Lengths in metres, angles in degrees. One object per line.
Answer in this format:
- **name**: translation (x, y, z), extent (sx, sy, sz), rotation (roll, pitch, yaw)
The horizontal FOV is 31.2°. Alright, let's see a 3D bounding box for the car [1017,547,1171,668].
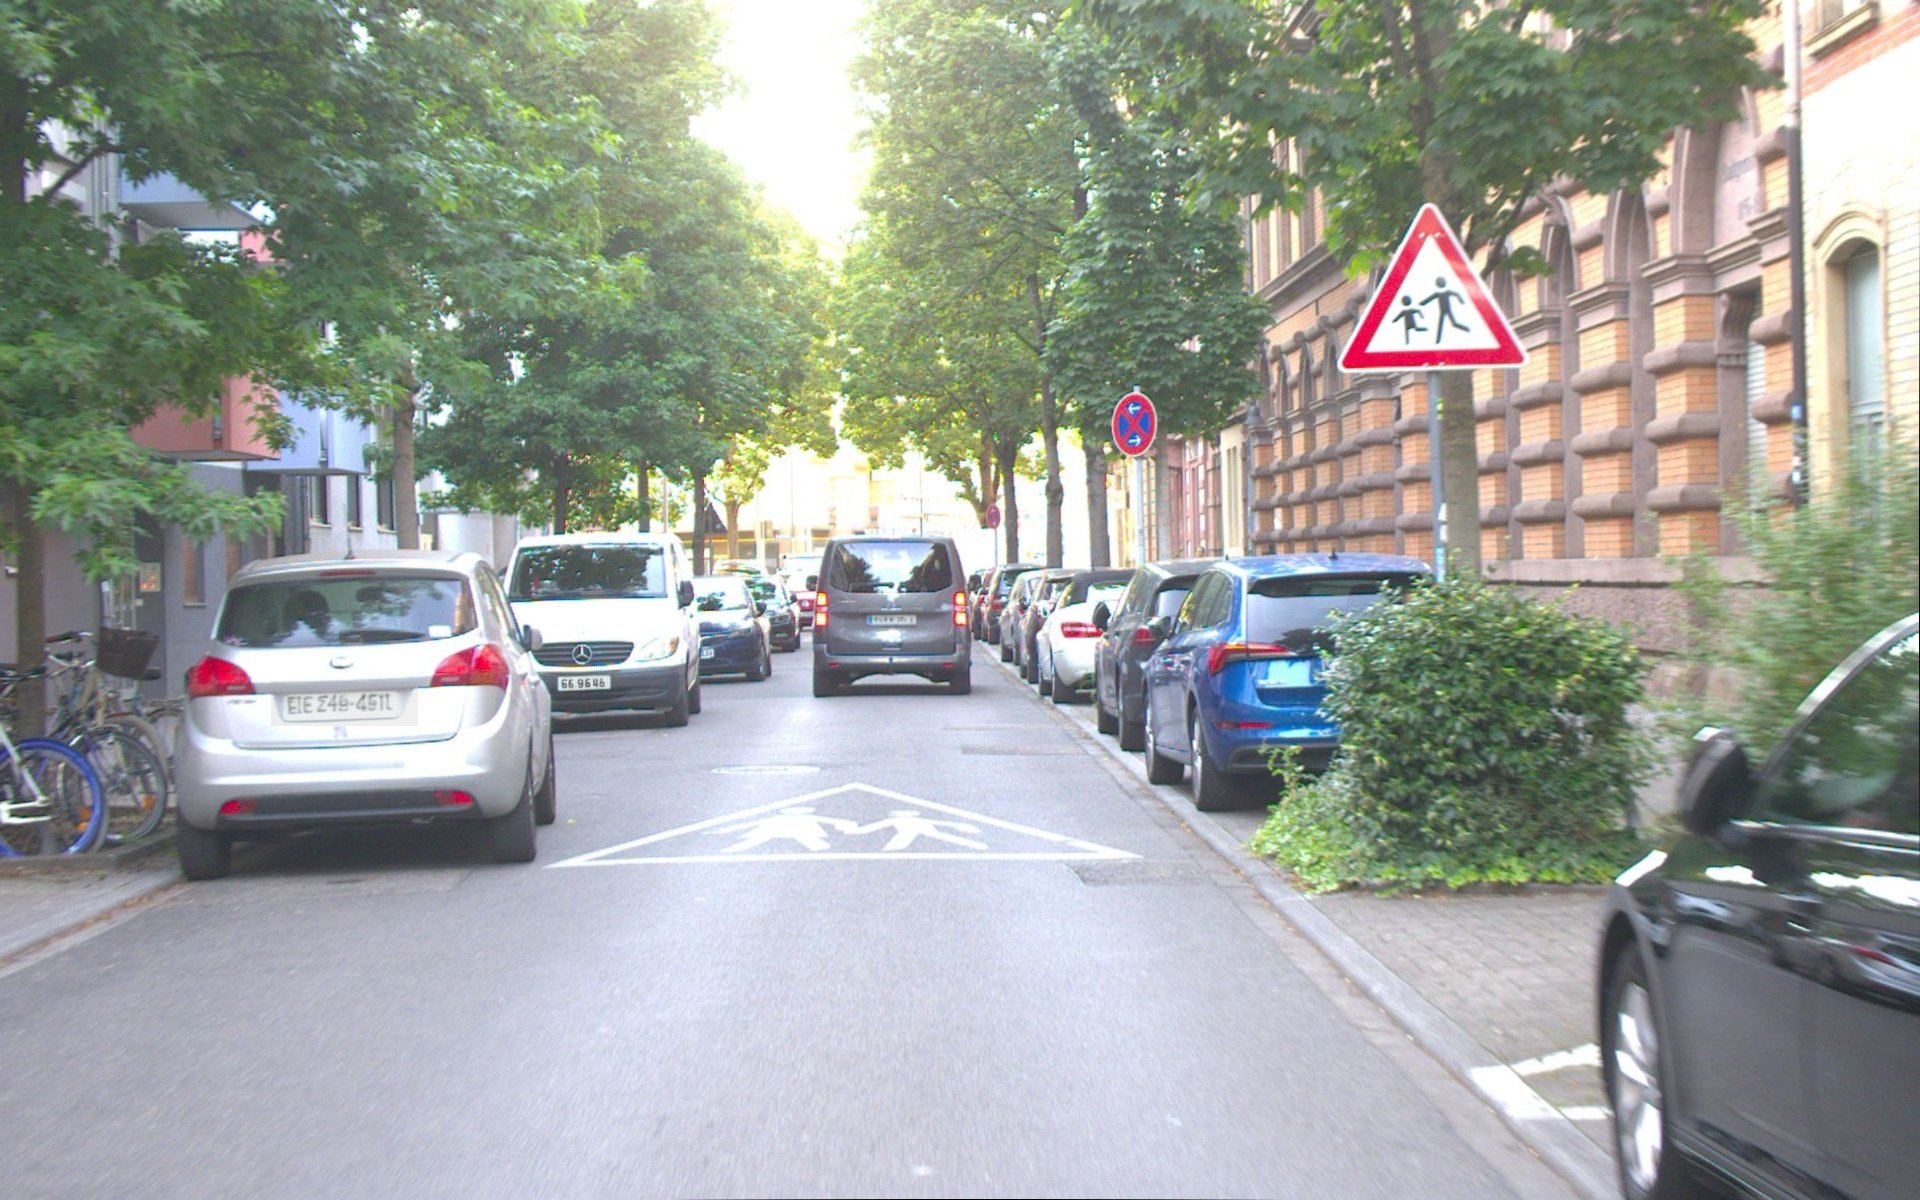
- **car**: translation (1.708, 0.081, 45.013), extent (1.722, 1.445, 4.215), rotation (-2, 0, -1)

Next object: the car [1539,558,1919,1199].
- **car**: translation (2.307, 0.640, 5.862), extent (1.766, 1.410, 4.474), rotation (-4, 1, 0)

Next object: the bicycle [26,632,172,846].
- **bicycle**: translation (-4.773, 0.749, 19.128), extent (0.419, 1.100, 1.665), rotation (-1, 1, -2)

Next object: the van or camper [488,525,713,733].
- **van or camper**: translation (-3.471, 0.227, 33.988), extent (1.876, 1.836, 4.753), rotation (-2, 1, -3)

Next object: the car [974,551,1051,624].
- **car**: translation (1.145, -0.287, 73.221), extent (1.551, 1.491, 3.610), rotation (-1, 1, 2)

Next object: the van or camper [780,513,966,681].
- **van or camper**: translation (-0.992, -0.066, 41.639), extent (2.035, 1.891, 4.271), rotation (-1, 1, 1)

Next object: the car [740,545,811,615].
- **car**: translation (-4.498, -0.501, 84.213), extent (1.630, 1.425, 3.544), rotation (-2, 4, -2)

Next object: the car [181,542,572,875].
- **car**: translation (-3.061, 0.499, 18.730), extent (1.663, 1.558, 4.001), rotation (-2, 1, -4)

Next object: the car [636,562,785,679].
- **car**: translation (-3.447, 0.257, 48.131), extent (1.830, 1.512, 4.516), rotation (-2, 0, -2)

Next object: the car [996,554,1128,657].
- **car**: translation (1.599, 0.054, 54.922), extent (1.697, 1.477, 4.001), rotation (-4, 1, -3)

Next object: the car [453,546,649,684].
- **car**: translation (-5.100, 0.144, 43.483), extent (1.993, 1.641, 4.922), rotation (0, 1, -1)

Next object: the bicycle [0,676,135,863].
- **bicycle**: translation (-5.026, 0.861, 17.183), extent (1.699, 0.904, 0.383), rotation (-1, 1, -30)

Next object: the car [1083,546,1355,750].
- **car**: translation (2.003, 0.328, 27.666), extent (1.711, 1.472, 4.193), rotation (-2, 1, -2)

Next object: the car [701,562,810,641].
- **car**: translation (-3.917, 0.002, 66.398), extent (1.846, 1.446, 4.503), rotation (-1, 1, -1)

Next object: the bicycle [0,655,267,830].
- **bicycle**: translation (-5.029, 0.852, 20.719), extent (1.728, 0.991, 0.575), rotation (-1, 1, 33)

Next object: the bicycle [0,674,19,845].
- **bicycle**: translation (-5.802, 0.861, 17.948), extent (1.660, 0.895, 0.383), rotation (-1, 1, -30)

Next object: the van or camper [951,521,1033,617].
- **van or camper**: translation (0.862, -0.882, 96.925), extent (1.993, 2.590, 5.425), rotation (-1, 1, -2)

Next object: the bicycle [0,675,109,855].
- **bicycle**: translation (-5.252, 0.860, 17.583), extent (1.699, 0.895, 0.383), rotation (-1, 1, -30)

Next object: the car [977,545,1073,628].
- **car**: translation (1.272, -0.287, 68.921), extent (1.611, 1.553, 3.766), rotation (-2, 1, -3)

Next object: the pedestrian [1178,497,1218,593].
- **pedestrian**: translation (4.129, -0.951, 59.774), extent (0.627, 1.643, 0.532), rotation (-1, 1, 0)

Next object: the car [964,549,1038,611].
- **car**: translation (0.998, -0.515, 85.948), extent (1.750, 1.466, 3.776), rotation (-1, 1, 0)

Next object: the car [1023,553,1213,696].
- **car**: translation (1.664, 0.218, 37.675), extent (1.693, 1.396, 4.646), rotation (-2, 1, -1)

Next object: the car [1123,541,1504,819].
- **car**: translation (2.036, 0.409, 20.902), extent (1.627, 1.461, 4.246), rotation (-2, 1, -3)
